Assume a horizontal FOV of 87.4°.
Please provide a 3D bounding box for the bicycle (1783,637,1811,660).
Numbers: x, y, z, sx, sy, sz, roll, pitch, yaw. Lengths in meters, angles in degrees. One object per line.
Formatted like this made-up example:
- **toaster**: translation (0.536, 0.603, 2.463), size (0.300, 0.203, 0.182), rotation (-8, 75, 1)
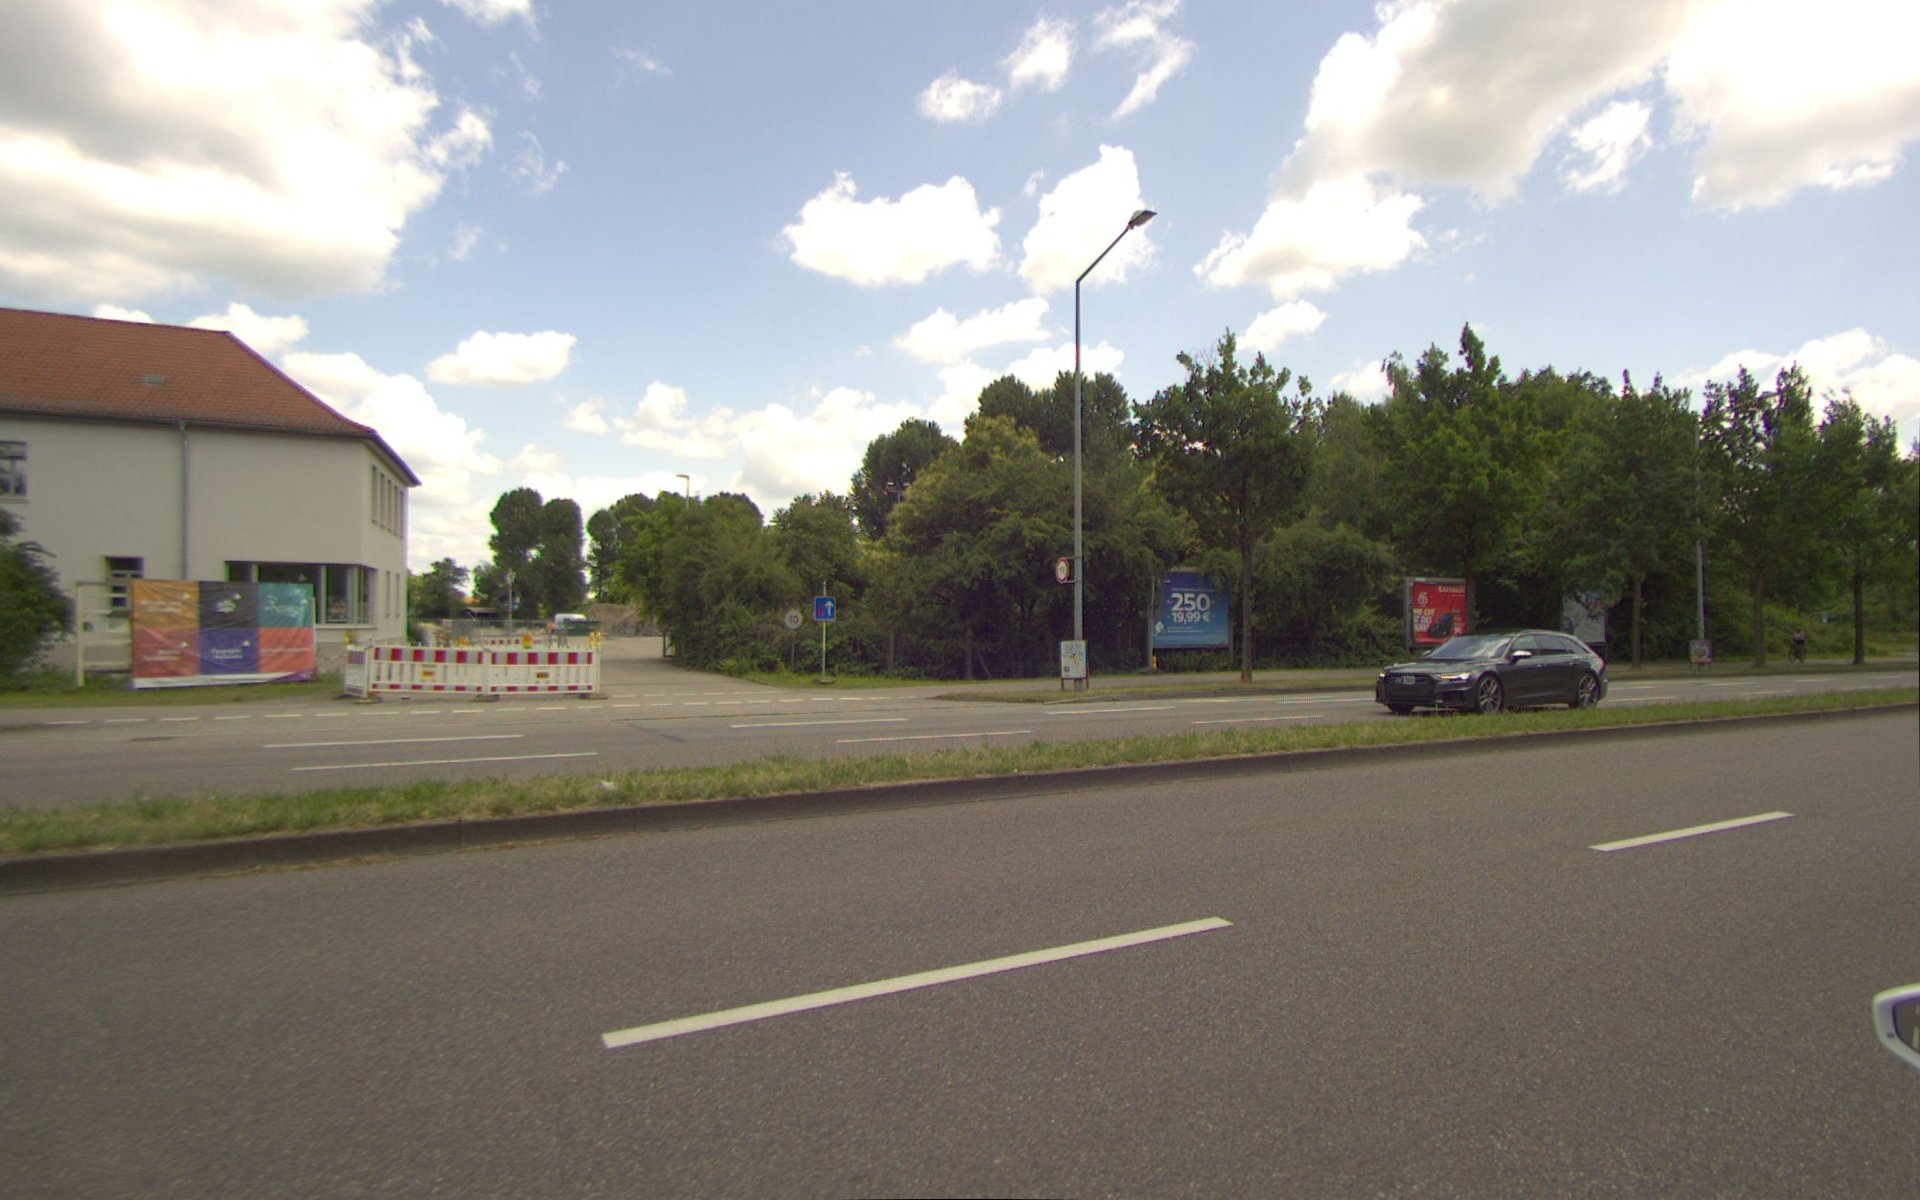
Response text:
- **bicycle**: translation (42.025, 2.425, 50.442), size (1.824, 1.121, 0.506), rotation (2, 0, -32)

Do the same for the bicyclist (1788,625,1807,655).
- **bicyclist**: translation (42.078, 2.024, 50.479), size (0.705, 1.484, 0.491), rotation (1, 0, -32)

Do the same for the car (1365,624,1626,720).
- **car**: translation (9.721, 1.216, 18.138), size (4.852, 1.537, 1.950), rotation (1, -1, -31)
